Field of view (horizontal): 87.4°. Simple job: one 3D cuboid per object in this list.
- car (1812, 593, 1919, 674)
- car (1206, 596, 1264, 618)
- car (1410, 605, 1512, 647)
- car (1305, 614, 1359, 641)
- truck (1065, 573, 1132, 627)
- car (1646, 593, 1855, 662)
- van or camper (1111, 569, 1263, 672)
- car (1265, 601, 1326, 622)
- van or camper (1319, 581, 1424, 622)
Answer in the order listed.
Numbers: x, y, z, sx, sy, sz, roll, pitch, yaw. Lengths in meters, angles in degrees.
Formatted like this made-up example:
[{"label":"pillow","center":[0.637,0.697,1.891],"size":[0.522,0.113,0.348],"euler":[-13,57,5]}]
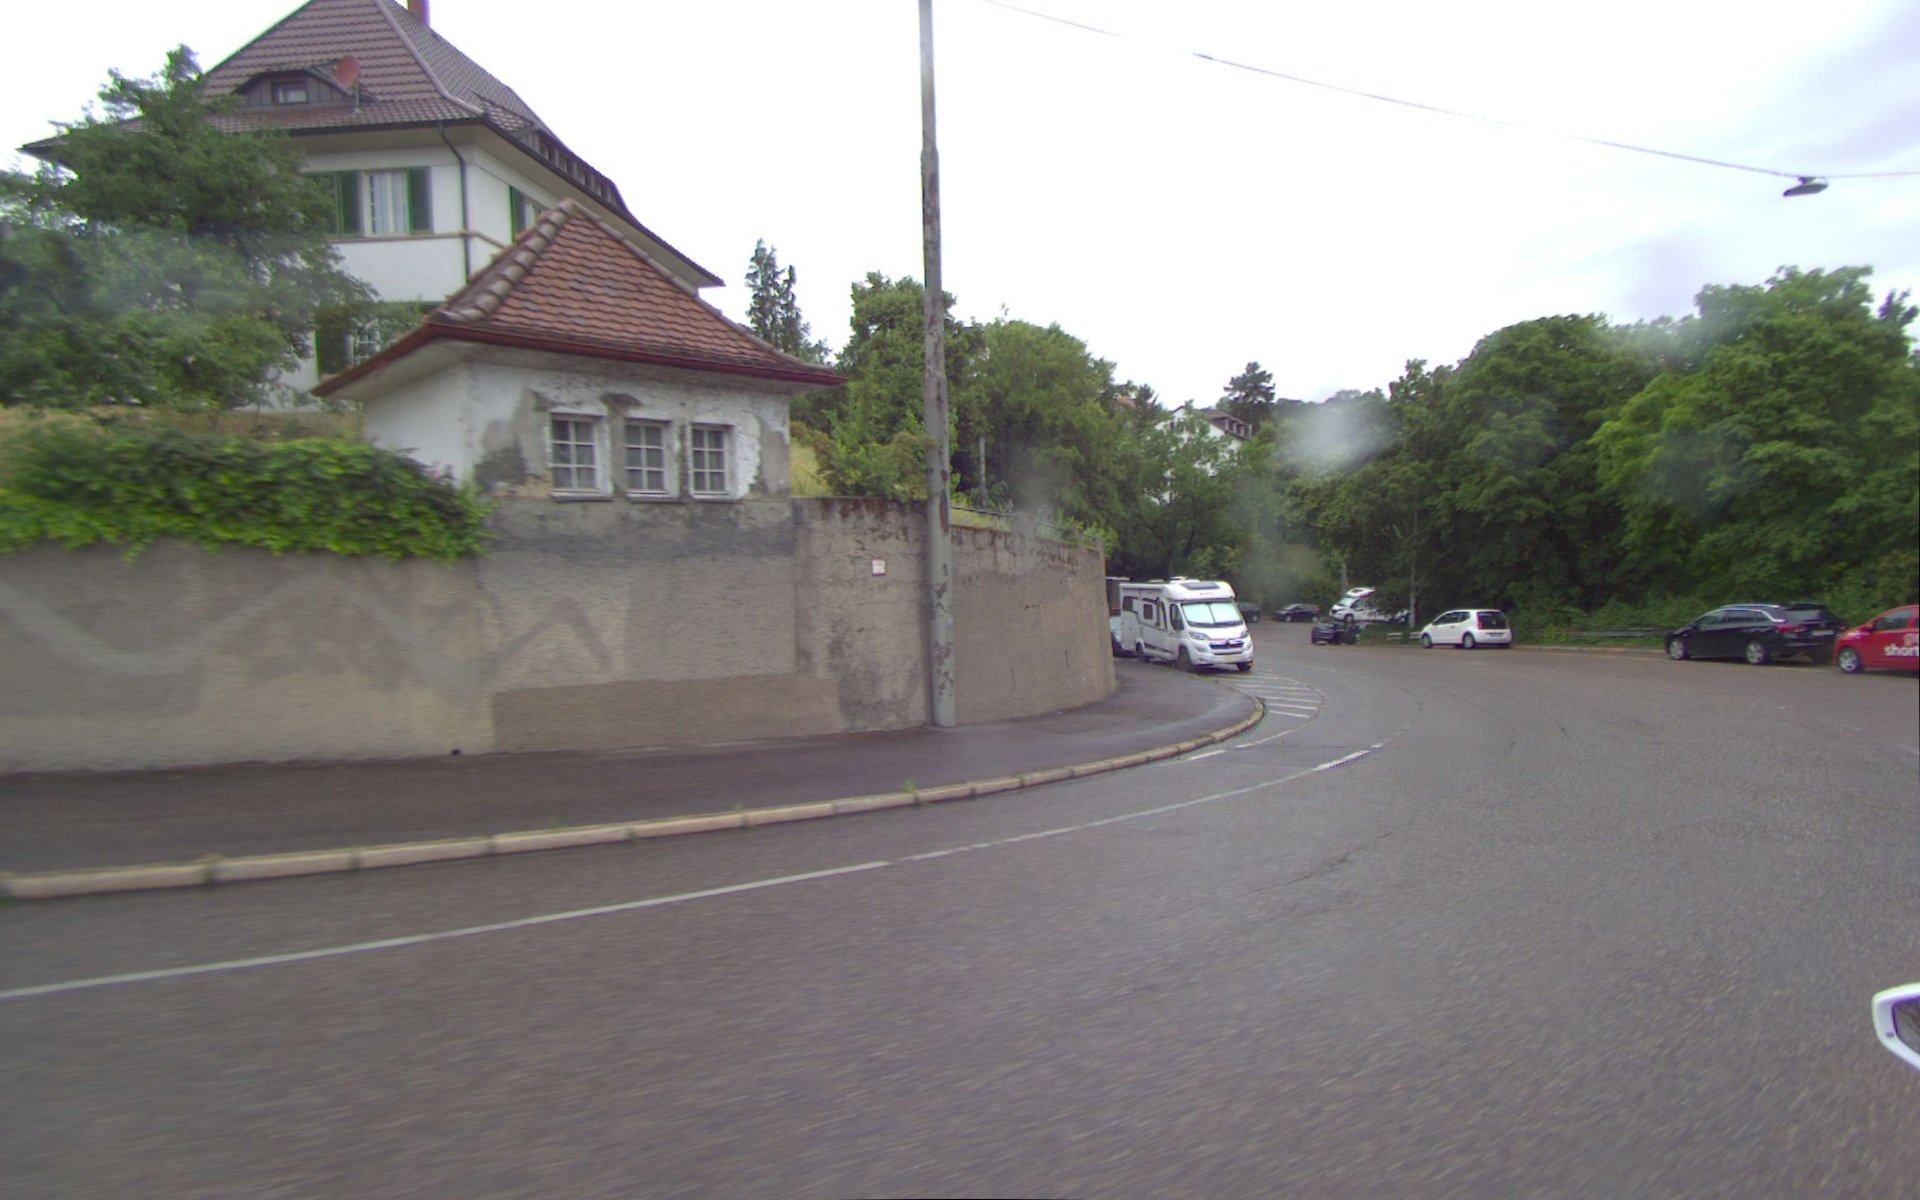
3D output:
[{"label":"car","center":[19.630,0.647,20.483],"size":[1.532,1.533,3.677],"euler":[-2,0,4]},{"label":"car","center":[21.175,0.569,77.450],"size":[4.262,1.485,1.769],"euler":[1,5,-30]},{"label":"car","center":[18.995,0.996,38.255],"size":[1.562,1.521,3.660],"euler":[0,-1,-11]},{"label":"car","center":[22.883,1.676,61.710],"size":[1.630,1.484,4.012],"euler":[7,4,41]},{"label":"truck","center":[8.836,-0.007,63.499],"size":[2.002,3.145,6.605],"euler":[4,2,26]},{"label":"car","center":[19.907,0.654,25.597],"size":[1.690,1.533,4.595],"euler":[-2,0,1]},{"label":"van or camper","center":[6.985,0.564,32.050],"size":[2.123,2.826,7.037],"euler":[-3,1,-10]},{"label":"car","center":[26.583,0.936,79.658],"size":[4.241,1.374,1.753],"euler":[2,5,-15]},{"label":"van or camper","center":[33.291,0.125,81.372],"size":[7.517,2.973,2.199],"euler":[1,5,-6]}]
